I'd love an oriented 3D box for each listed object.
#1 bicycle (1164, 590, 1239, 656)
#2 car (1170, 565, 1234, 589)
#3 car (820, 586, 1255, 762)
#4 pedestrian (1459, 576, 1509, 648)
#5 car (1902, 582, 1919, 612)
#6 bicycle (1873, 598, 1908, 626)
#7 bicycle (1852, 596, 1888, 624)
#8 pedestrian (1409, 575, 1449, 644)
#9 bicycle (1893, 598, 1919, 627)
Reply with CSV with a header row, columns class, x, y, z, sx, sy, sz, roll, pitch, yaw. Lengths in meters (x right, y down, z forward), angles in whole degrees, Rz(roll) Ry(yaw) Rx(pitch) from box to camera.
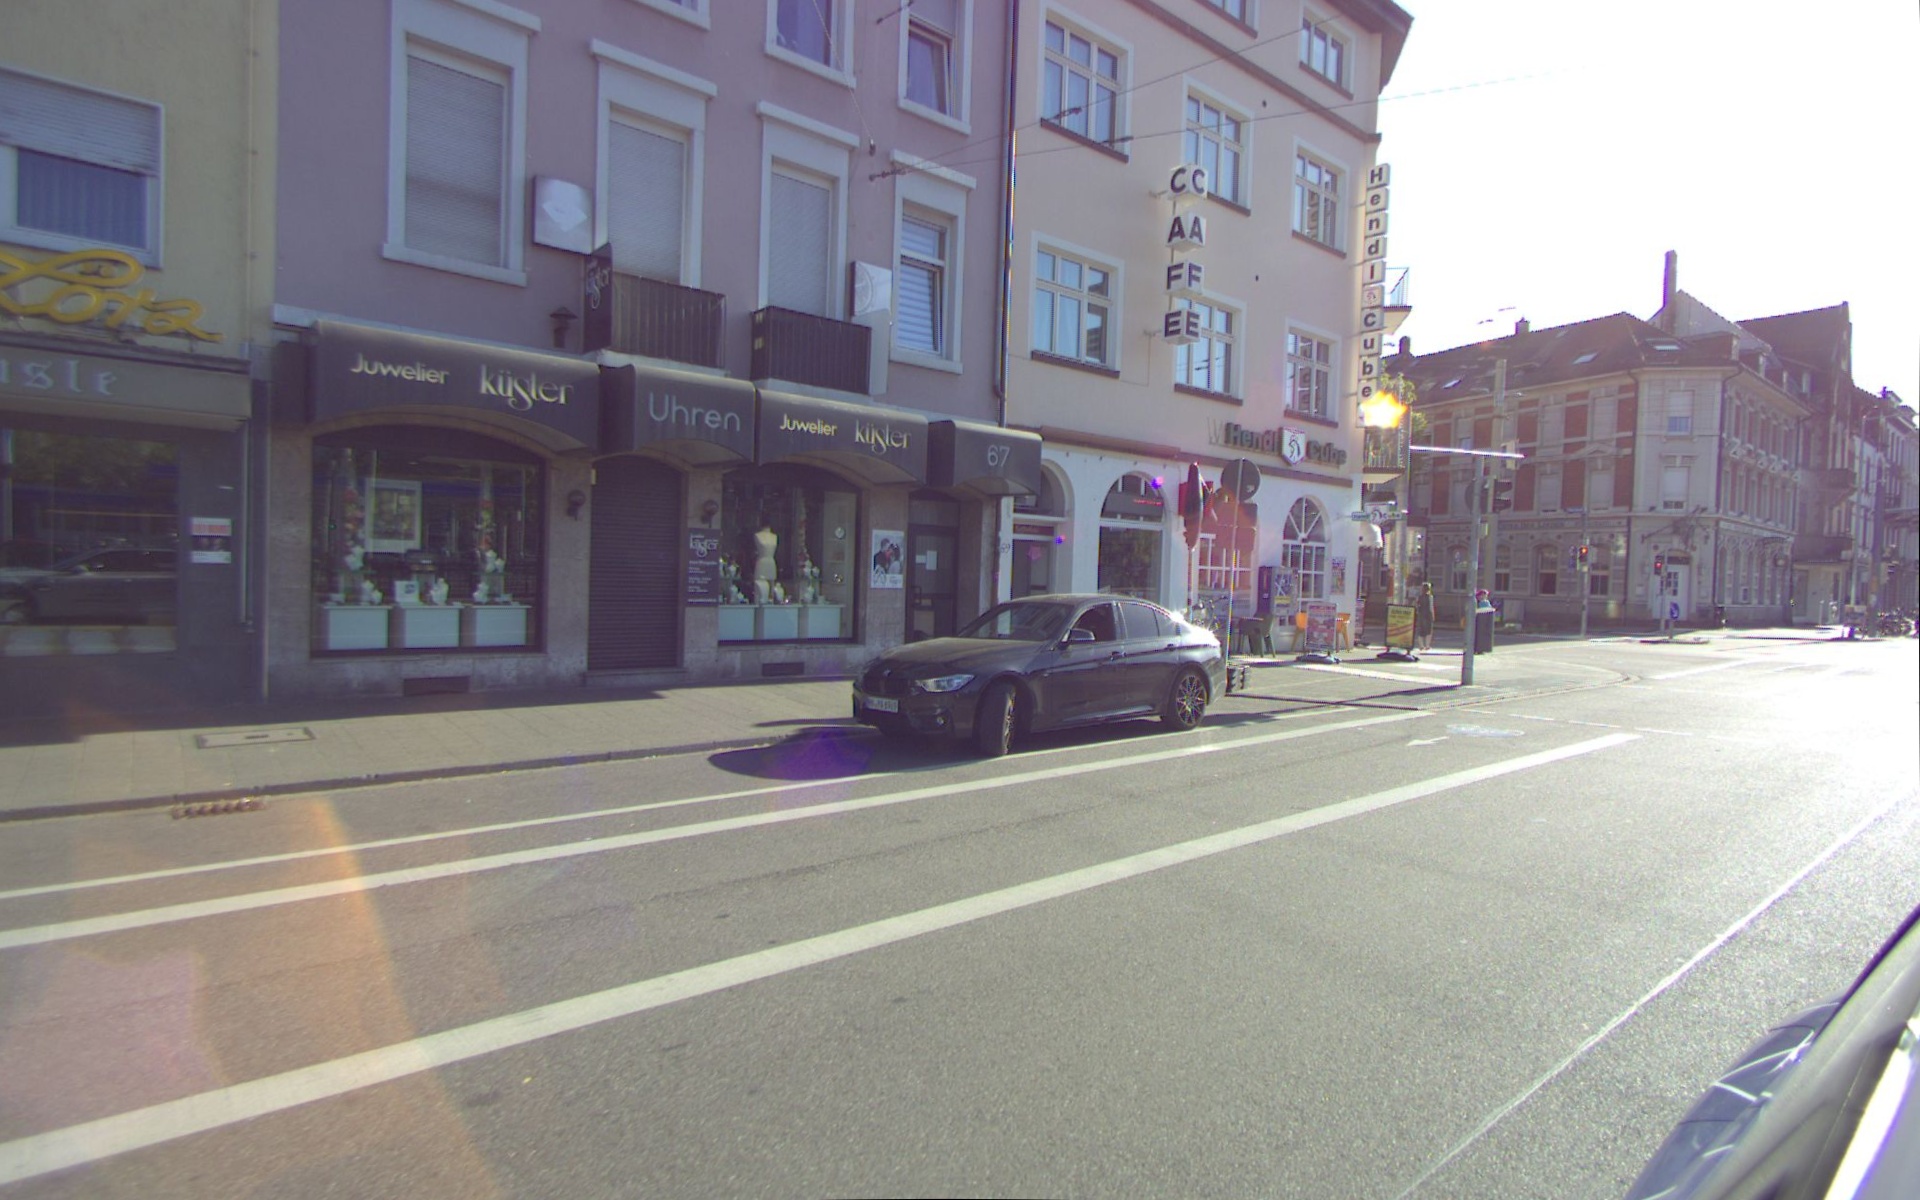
class,x,y,z,sx,sy,sz,roll,pitch,yaw
bicycle,4.465,0.394,18.659,0.693,1.122,1.842,2,2,35
car,16.210,-1.562,68.057,1.958,1.510,4.282,1,2,-24
car,0.998,0.593,10.623,4.636,1.447,1.902,0,1,-42
pedestrian,12.677,0.288,24.486,0.785,1.711,0.775,3,-1,-41
car,58.139,-0.158,60.247,4.510,1.748,2.296,0,2,-38
bicycle,41.984,0.528,45.644,2.254,1.230,0.694,0,2,-36
bicycle,41.523,0.437,46.170,2.254,1.230,0.694,0,2,-36
pedestrian,11.974,0.227,25.820,0.665,1.711,0.663,0,2,-41
bicycle,42.203,0.527,44.902,2.254,1.230,0.694,0,2,-36
